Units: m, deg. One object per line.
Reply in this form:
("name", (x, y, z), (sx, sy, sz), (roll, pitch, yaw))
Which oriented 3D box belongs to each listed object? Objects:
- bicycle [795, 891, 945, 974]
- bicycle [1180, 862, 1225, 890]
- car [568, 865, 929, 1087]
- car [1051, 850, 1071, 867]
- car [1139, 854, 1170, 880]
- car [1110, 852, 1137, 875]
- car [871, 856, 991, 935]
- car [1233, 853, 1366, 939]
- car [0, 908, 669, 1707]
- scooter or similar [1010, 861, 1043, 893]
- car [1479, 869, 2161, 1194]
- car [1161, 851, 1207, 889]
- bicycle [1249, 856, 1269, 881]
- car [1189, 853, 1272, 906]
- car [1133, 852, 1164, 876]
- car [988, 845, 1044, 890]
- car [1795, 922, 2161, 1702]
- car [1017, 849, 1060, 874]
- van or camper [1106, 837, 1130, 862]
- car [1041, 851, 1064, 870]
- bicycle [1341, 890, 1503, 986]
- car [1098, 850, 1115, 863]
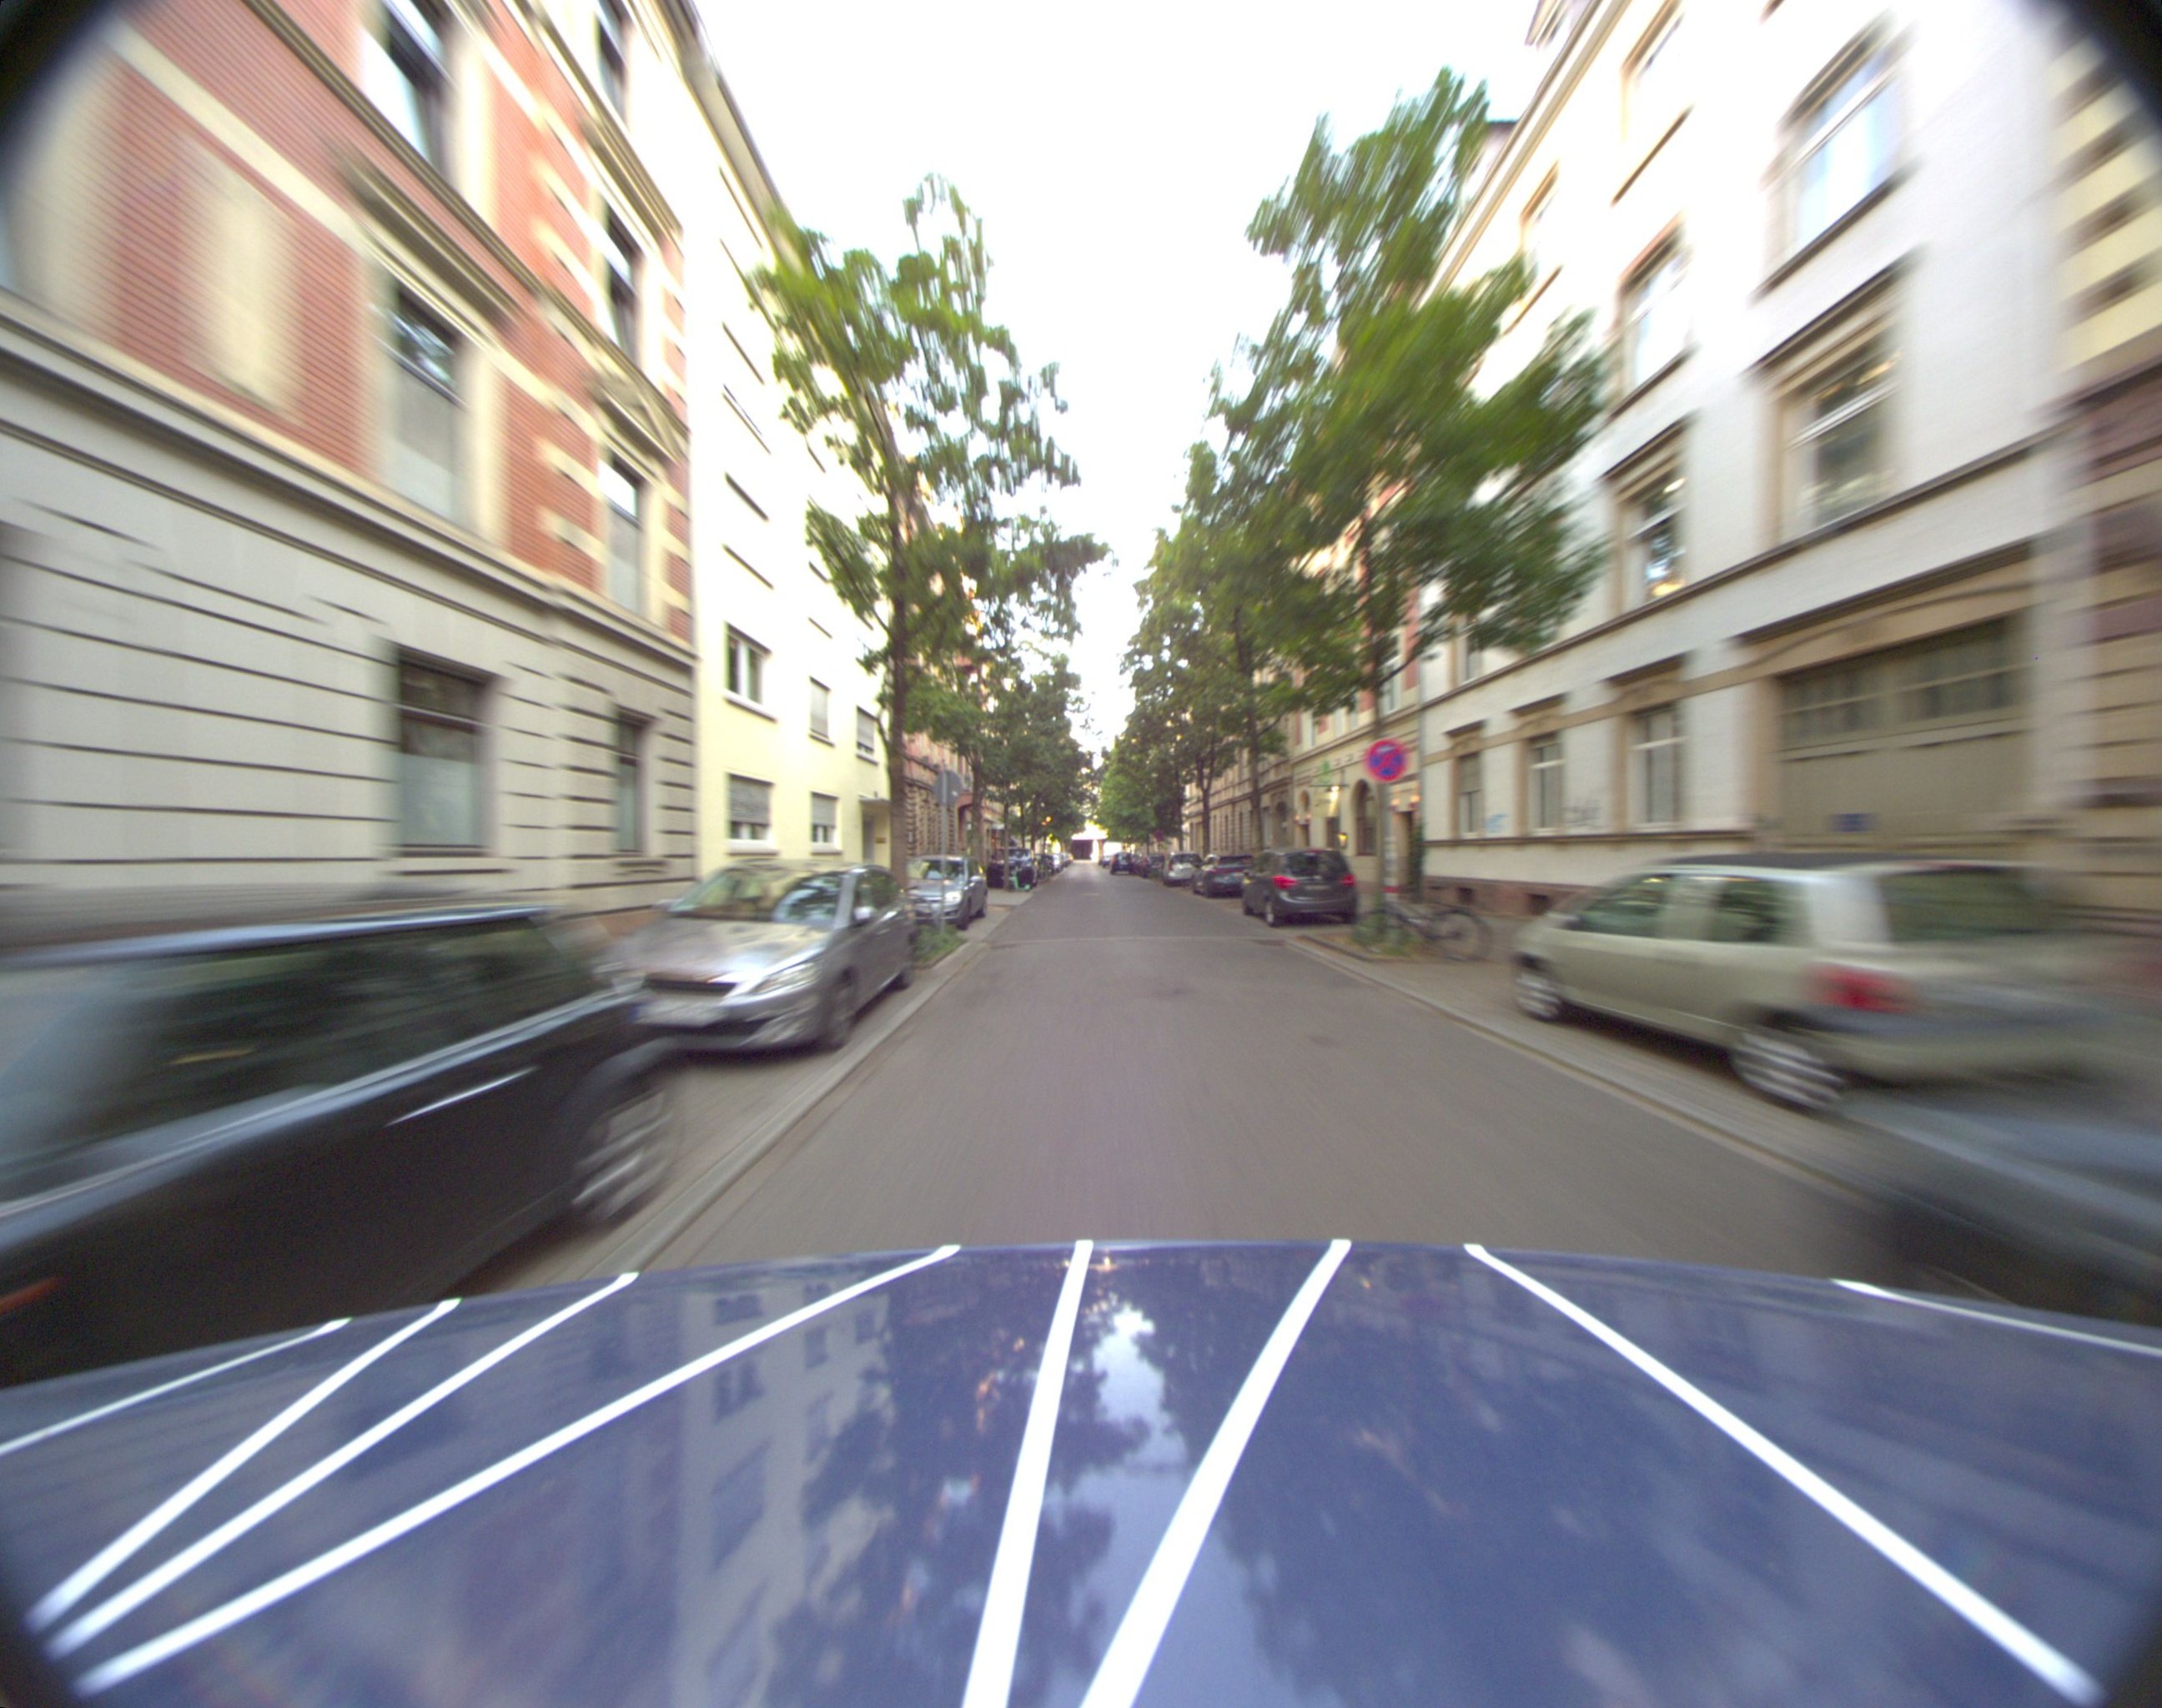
("bicycle", (-2.881, 1.038, 10.397), (1.924, 0.976, 0.637), (-1, 1, -21))
("bicycle", (4.873, 0.882, 30.462), (1.688, 0.997, 0.430), (-4, 1, 2))
("car", (-2.756, 0.889, 7.494), (1.721, 1.467, 4.367), (1, 0, -1))
("car", (-2.063, 0.457, 80.001), (1.944, 1.621, 4.453), (-1, 0, 0))
("car", (4.600, 0.801, 47.847), (1.523, 1.493, 3.561), (-2, 1, 0))
("car", (3.111, 0.674, 55.991), (1.728, 1.564, 4.219), (-1, 0, 0))
("car", (-3.066, 0.779, 16.409), (1.763, 1.454, 4.307), (0, 0, 0))
("car", (4.554, 0.798, 16.446), (1.710, 1.571, 4.078), (-2, 0, 1))
("car", (-2.656, 0.965, 1.636), (1.640, 1.415, 3.564), (0, 0, -1))
("scooter or similar", (-2.141, 0.891, 29.880), (0.673, 1.183, 1.118), (3, 2, 40))
("car", (4.625, 0.903, 5.483), (1.591, 1.428, 3.565), (-2, 0, 0))
("car", (4.702, 0.701, 35.118), (1.680, 1.598, 3.861), (-2, 0, 2))
("bicycle", (8.168, 0.674, 34.908), (0.462, 1.083, 1.629), (-4, 0, 1))
("car", (4.842, 0.765, 25.304), (1.810, 1.509, 4.684), (-2, 0, 0))
("car", (4.577, 0.666, 51.759), (1.695, 1.493, 3.711), (-2, 1, -1))
("car", (-2.844, 0.549, 34.107), (2.019, 1.822, 4.810), (2, 0, 0))
("car", (2.849, 0.916, 0.308), (1.584, 1.412, 3.752), (0, 1, 0))
("car", (-2.885, 0.510, 51.945), (2.804, 1.590, 1.800), (2, 1, 1))
("van or camper", (3.665, -0.446, 76.455), (2.225, 2.417, 5.660), (0, 0, 0))
("car", (-2.271, 0.499, 61.334), (1.737, 1.482, 4.103), (0, 0, 0))
("bicycle", (4.489, 1.066, 10.092), (1.823, 1.078, 0.670), (0, 2, 43))
("car", (3.109, 0.294, 92.533), (1.665, 1.448, 4.282), (0, 0, -3))
